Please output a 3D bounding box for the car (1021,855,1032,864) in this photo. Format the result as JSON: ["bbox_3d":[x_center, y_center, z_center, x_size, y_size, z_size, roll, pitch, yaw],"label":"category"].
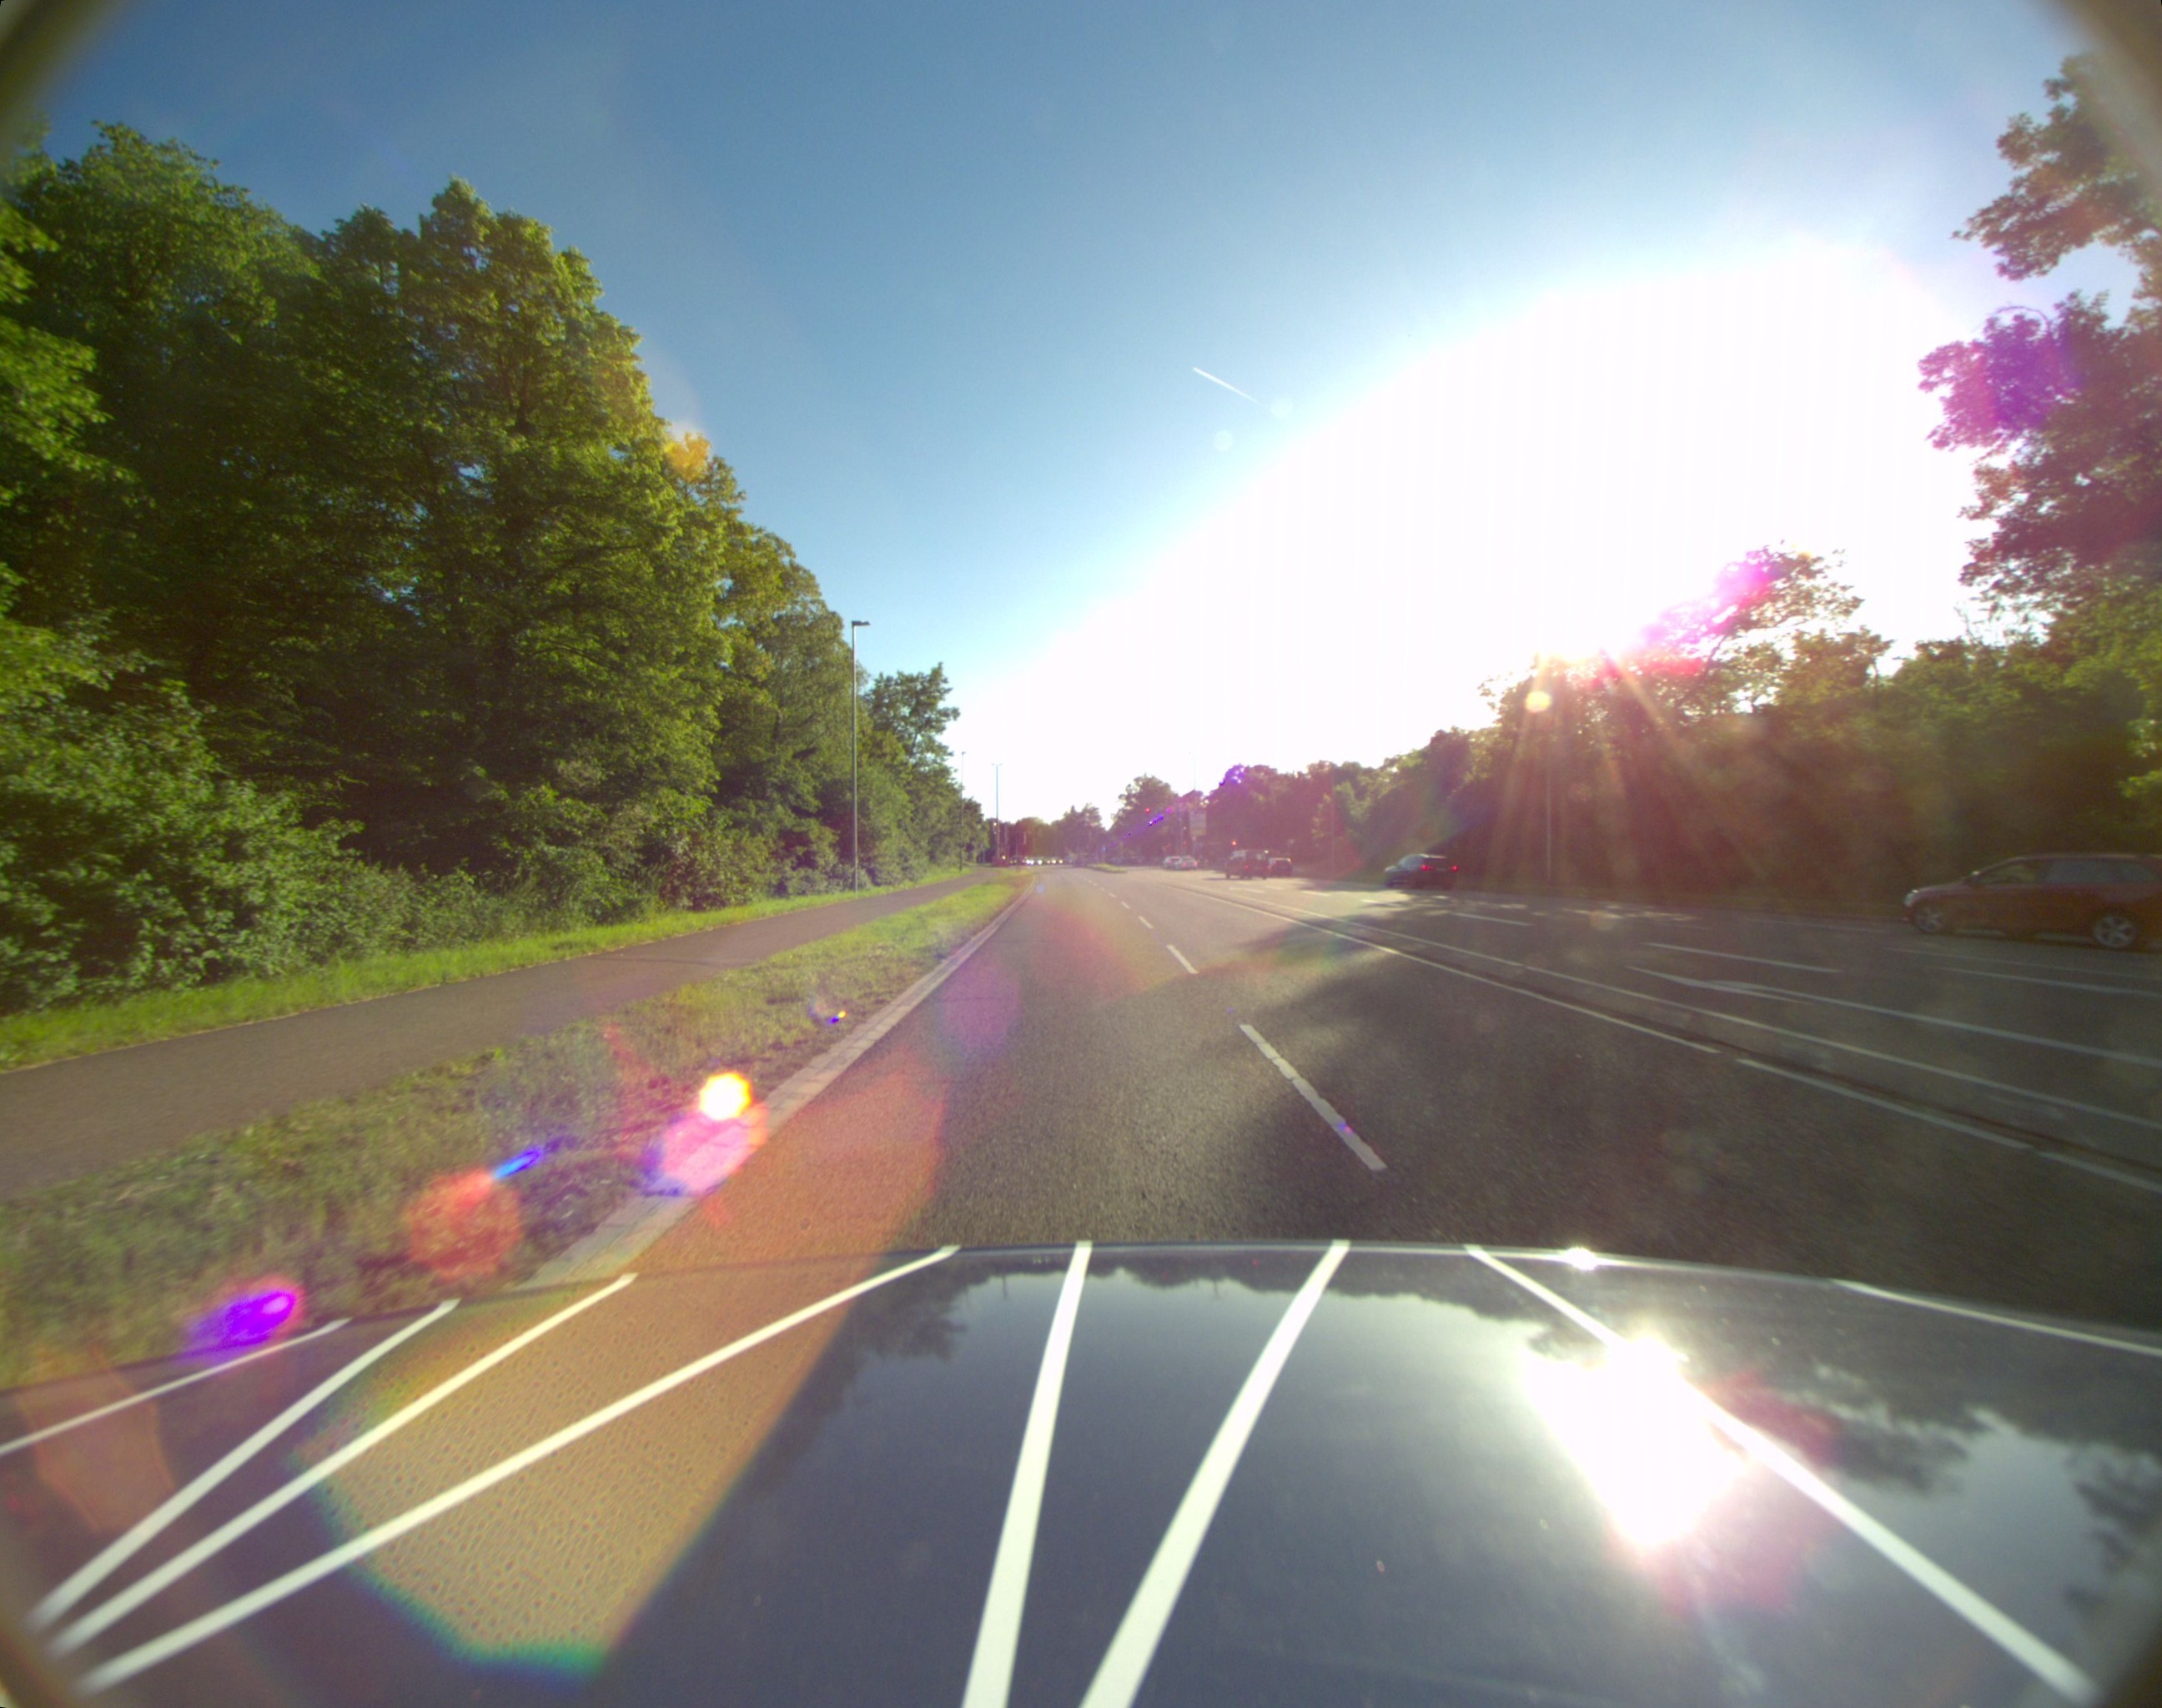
[{"bbox_3d":[-10.810,1.062,149.630,2.000,1.510,3.997,-1,1,-7],"label":"car"}]

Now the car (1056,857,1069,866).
[{"bbox_3d":[-3.393,1.319,137.058,2.000,1.510,3.997,-1,1,-7],"label":"car"}]

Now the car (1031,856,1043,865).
[{"bbox_3d":[-8.227,1.158,142.530,2.000,1.510,3.997,-1,1,-7],"label":"car"}]

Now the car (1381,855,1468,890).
[{"bbox_3d":[16.750,0.860,37.366,1.999,1.627,4.843,0,0,-2],"label":"car"}]

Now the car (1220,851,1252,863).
[{"bbox_3d":[23.465,0.469,115.182,4.736,1.677,2.001,0,0,8],"label":"car"}]

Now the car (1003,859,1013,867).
[{"bbox_3d":[-14.961,1.890,155.774,2.000,1.510,3.997,-1,1,-7],"label":"car"}]

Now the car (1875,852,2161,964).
[{"bbox_3d":[16.110,0.752,12.296,1.998,1.555,4.338,0,0,0],"label":"car"}]

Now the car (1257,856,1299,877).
[{"bbox_3d":[15.867,0.974,61.310,1.999,1.555,4.647,2,0,-2],"label":"car"}]

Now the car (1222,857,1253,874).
[{"bbox_3d":[15.852,1.160,77.284,1.999,1.555,4.647,2,0,-2],"label":"car"}]

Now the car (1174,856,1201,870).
[{"bbox_3d":[11.638,0.955,83.171,1.999,1.442,4.645,1,0,-5],"label":"car"}]

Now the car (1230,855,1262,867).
[{"bbox_3d":[19.907,0.813,91.502,1.994,1.442,4.658,0,0,36],"label":"car"}]

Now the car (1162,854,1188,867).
[{"bbox_3d":[11.160,0.722,90.791,2.000,1.442,4.839,1,0,-7],"label":"car"}]

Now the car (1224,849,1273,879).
[{"bbox_3d":[11.398,0.651,52.064,1.999,1.950,4.645,1,0,-5],"label":"car"}]

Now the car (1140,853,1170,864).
[{"bbox_3d":[11.041,0.648,113.760,3.989,1.510,2.004,0,0,31],"label":"car"}]

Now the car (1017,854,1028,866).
[{"bbox_3d":[-10.858,1.145,140.851,2.000,2.057,3.997,-1,1,-7],"label":"car"}]
